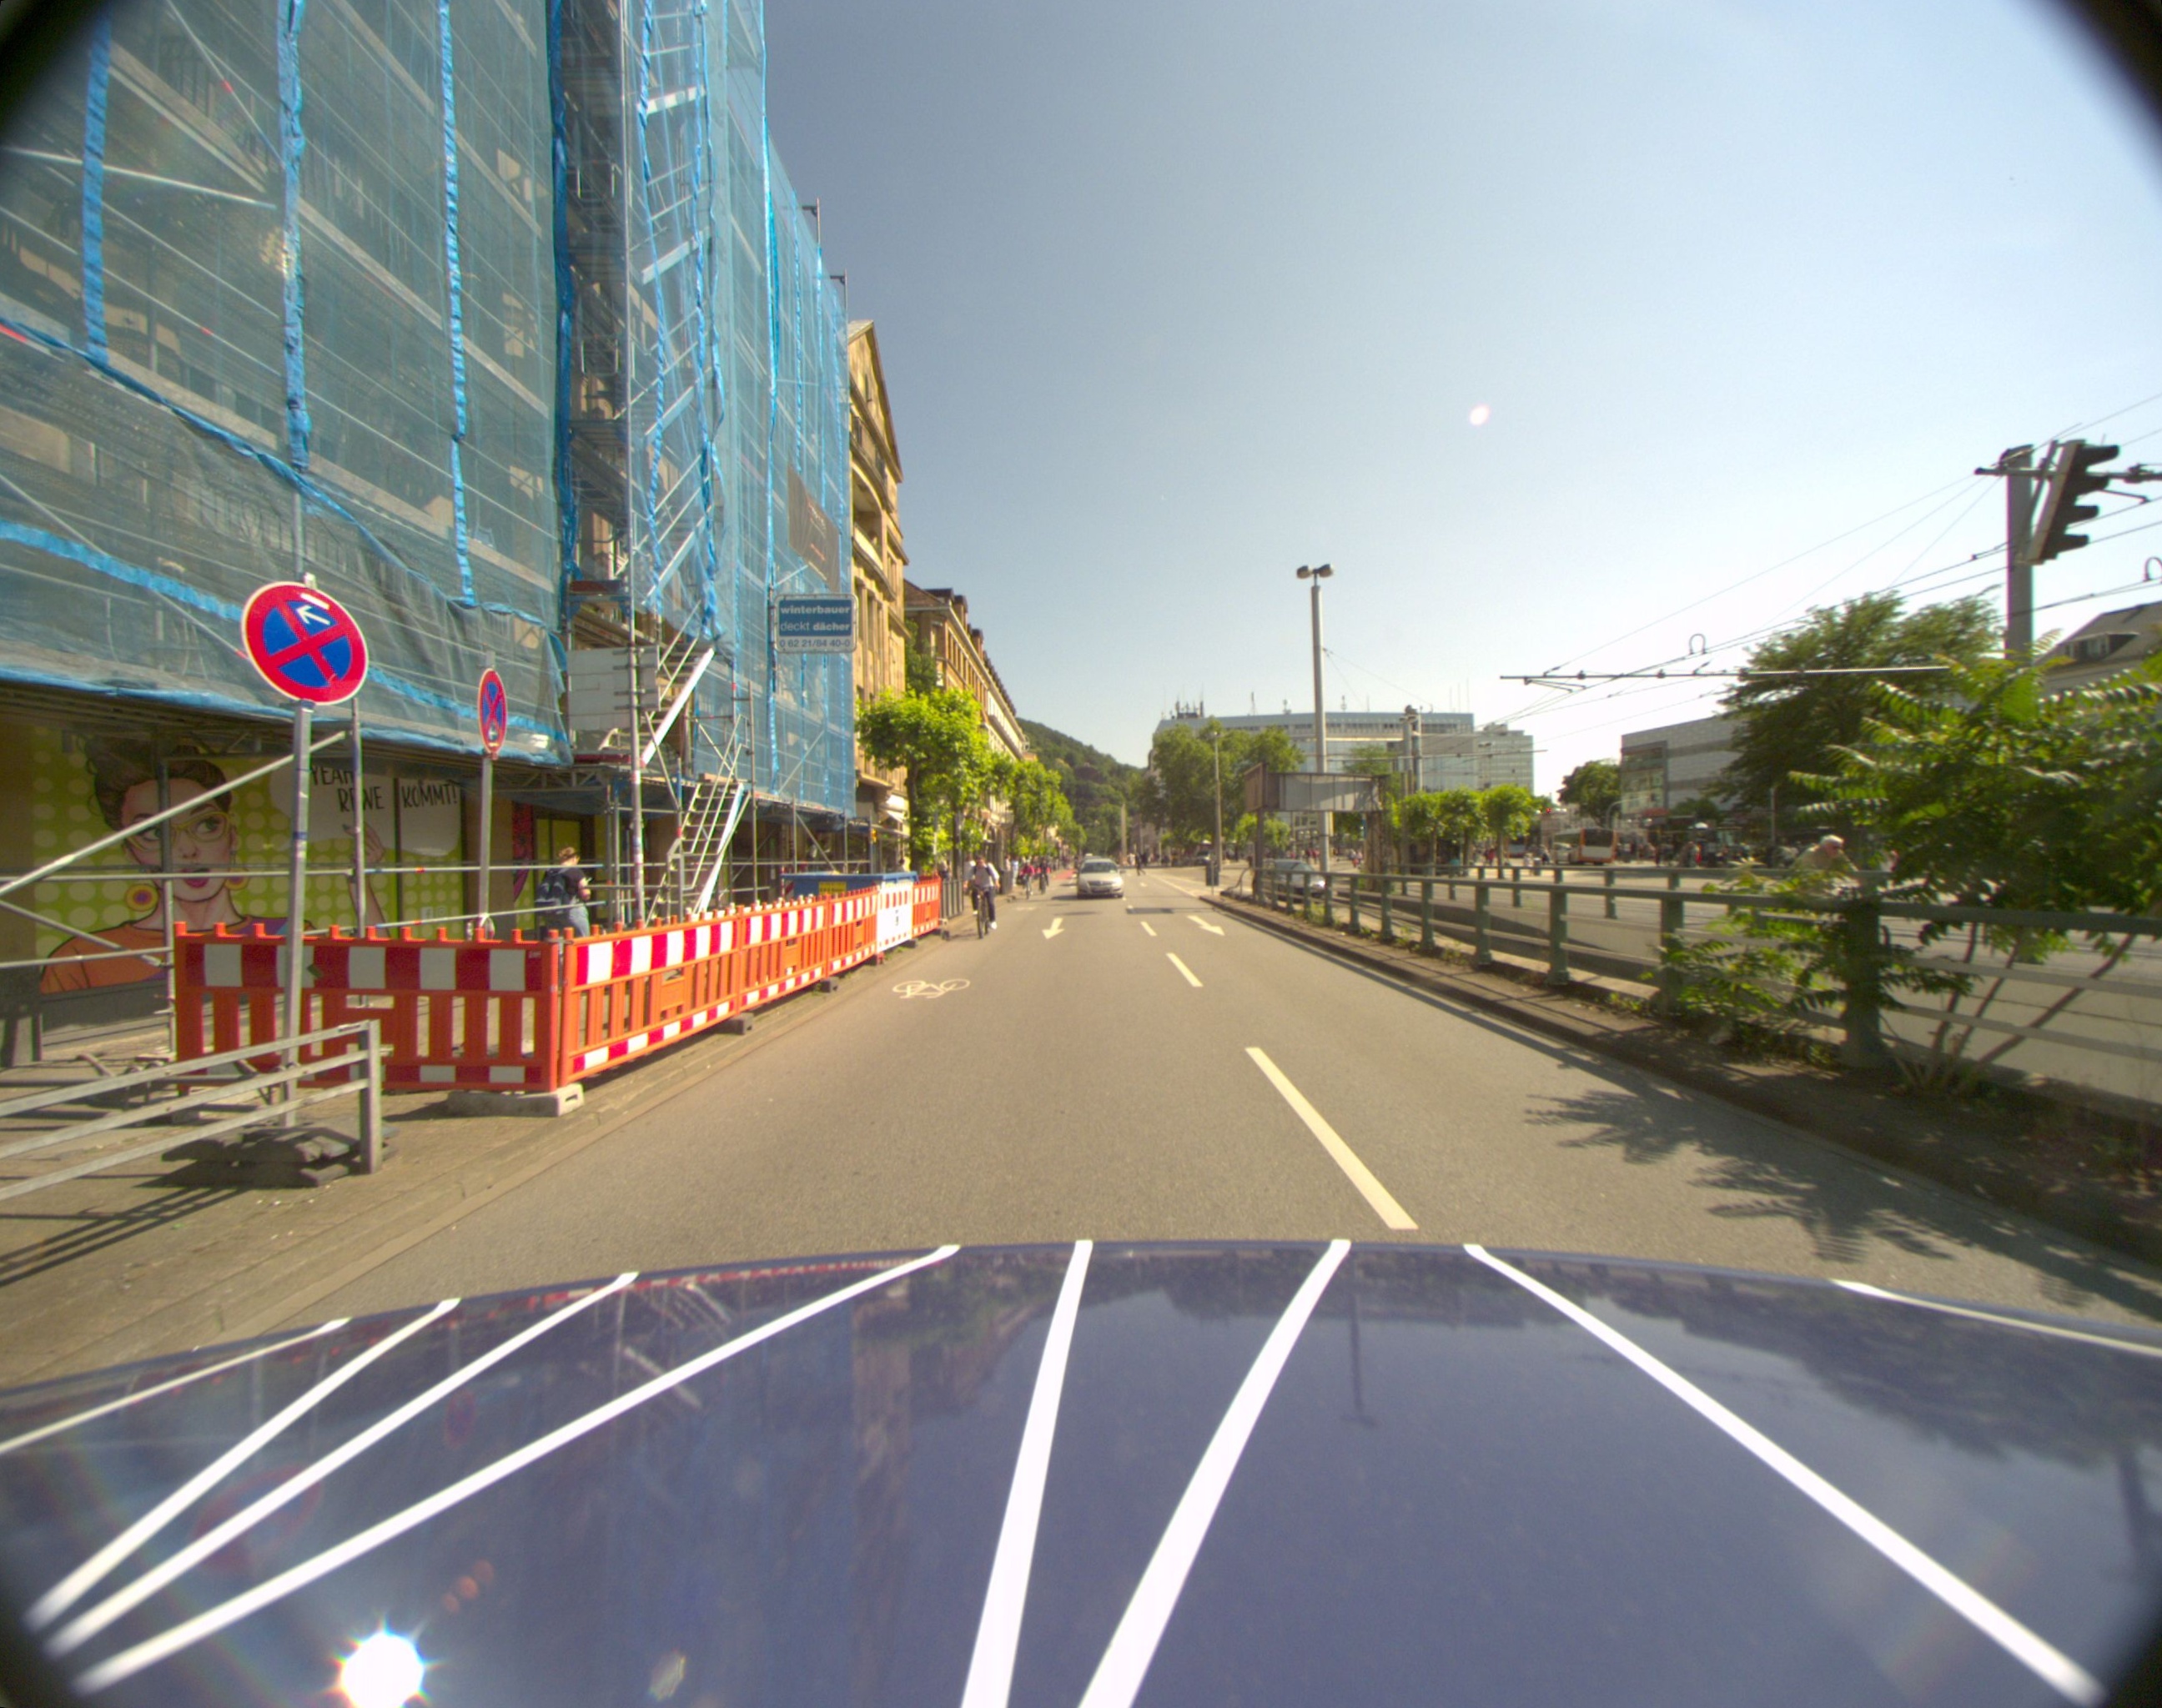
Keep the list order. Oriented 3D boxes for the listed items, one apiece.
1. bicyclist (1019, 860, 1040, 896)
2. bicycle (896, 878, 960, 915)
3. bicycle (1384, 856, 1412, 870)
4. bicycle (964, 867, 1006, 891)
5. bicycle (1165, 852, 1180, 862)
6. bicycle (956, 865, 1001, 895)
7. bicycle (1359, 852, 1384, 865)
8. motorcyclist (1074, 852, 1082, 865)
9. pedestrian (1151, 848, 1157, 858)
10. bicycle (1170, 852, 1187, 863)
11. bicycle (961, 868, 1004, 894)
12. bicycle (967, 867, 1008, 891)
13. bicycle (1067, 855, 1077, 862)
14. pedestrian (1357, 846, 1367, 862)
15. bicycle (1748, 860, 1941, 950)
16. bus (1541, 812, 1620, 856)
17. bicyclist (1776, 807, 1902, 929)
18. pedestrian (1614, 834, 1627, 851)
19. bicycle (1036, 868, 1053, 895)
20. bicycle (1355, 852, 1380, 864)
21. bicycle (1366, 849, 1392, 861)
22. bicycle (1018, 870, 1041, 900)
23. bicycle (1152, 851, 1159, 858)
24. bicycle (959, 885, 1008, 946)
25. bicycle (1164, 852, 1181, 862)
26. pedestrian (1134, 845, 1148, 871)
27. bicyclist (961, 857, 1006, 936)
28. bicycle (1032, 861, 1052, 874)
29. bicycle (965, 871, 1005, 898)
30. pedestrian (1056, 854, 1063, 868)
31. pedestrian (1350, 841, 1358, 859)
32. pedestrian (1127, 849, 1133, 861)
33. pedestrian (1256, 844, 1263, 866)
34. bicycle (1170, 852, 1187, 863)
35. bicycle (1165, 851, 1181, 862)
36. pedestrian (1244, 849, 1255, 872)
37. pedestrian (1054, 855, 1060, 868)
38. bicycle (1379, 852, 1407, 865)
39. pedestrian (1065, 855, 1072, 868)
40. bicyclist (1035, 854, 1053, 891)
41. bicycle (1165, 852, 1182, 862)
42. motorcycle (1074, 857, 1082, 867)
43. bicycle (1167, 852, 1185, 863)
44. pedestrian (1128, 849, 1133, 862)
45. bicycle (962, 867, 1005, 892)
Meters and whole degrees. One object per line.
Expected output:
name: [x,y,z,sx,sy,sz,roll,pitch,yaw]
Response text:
bicyclist: [-2.053,0.952,30.312,0.690,1.388,0.778,-4,1,-1]
bicycle: [-4.540,1.262,22.555,1.757,1.012,0.483,-2,1,-1]
bicycle: [23.449,0.663,56.265,1.871,0.864,0.581,-4,1,-12]
bicycle: [-4.247,1.114,33.726,1.757,1.012,0.483,-2,1,-1]
bicycle: [10.705,0.319,88.947,1.757,1.140,0.483,-2,1,-1]
bicycle: [-4.277,1.103,31.866,1.757,1.174,0.579,-2,1,-1]
bicycle: [23.435,0.361,61.287,1.871,0.867,0.583,-4,1,-12]
motorcyclist: [-0.360,0.557,89.815,0.736,1.446,0.707,-4,1,1]
pedestrian: [12.432,-0.095,129.512,0.732,1.660,0.640,-3,1,15]
bicycle: [10.834,0.343,84.384,1.757,1.140,0.483,-2,1,-1]
bicycle: [-4.198,1.156,32.444,1.757,1.012,0.557,-2,1,-1]
bicycle: [-4.227,1.136,34.343,1.757,1.012,0.483,-2,1,-1]
bicycle: [-1.518,0.836,130.943,1.757,1.140,0.592,-2,1,-1]
pedestrian: [26.281,0.021,71.040,0.626,1.457,0.552,1,0,-21]
bicycle: [10.582,0.657,10.655,0.819,1.114,1.874,1,1,1]
bus: [45.078,-1.821,69.064,3.060,3.400,12.475,-3,0,20]
bicyclist: [10.599,0.191,10.667,0.819,1.612,0.902,2,0,1]
pedestrian: [46.659,-0.986,65.703,0.624,1.457,0.681,1,0,4]
bicycle: [-1.606,1.196,33.791,0.667,1.086,1.897,-4,1,-1]
bicycle: [23.384,0.306,61.947,1.871,0.851,0.546,-4,1,-12]
bicycle: [23.543,0.071,59.962,1.871,0.851,0.546,-4,1,-12]
bicycle: [-2.050,1.225,30.226,0.736,1.086,1.819,-3,0,0]
bicycle: [12.724,0.138,129.389,0.729,1.137,1.914,-3,1,15]
bicycle: [-2.020,1.252,15.991,0.736,1.086,1.897,-4,1,-1]
bicycle: [10.554,0.336,87.646,1.757,1.140,0.483,-2,1,-1]
pedestrian: [4.717,0.335,59.755,0.897,1.996,0.678,-2,1,-43]
bicyclist: [-2.040,0.872,16.014,0.750,1.567,0.778,-4,1,0]
bicycle: [-3.498,1.193,68.486,1.757,1.140,0.483,-2,1,-1]
bicycle: [-3.860,1.205,30.351,0.659,1.012,1.753,-3,1,-42]
pedestrian: [-2.653,0.905,94.110,0.579,1.675,0.620,-4,1,-38]
pedestrian: [25.779,-0.346,71.667,0.473,1.656,0.521,1,0,-21]
pedestrian: [7.099,0.185,109.557,0.639,1.737,0.733,-4,1,0]
pedestrian: [13.612,0.081,57.932,0.525,1.600,0.627,1,0,10]
bicycle: [10.723,0.362,83.880,1.757,1.140,0.483,-2,1,-1]
bicycle: [10.651,0.285,88.255,1.757,1.140,0.483,-2,1,-1]
pedestrian: [12.875,0.487,57.937,0.527,1.723,0.586,1,0,-29]
pedestrian: [-2.977,0.943,95.044,0.578,1.675,0.775,-4,1,-2]
bicycle: [23.335,0.357,56.837,1.871,0.864,0.581,-4,1,-12]
pedestrian: [-1.695,1.020,102.057,0.579,1.675,0.726,-4,1,-22]
bicyclist: [-1.636,0.816,33.821,0.690,1.567,0.778,-4,1,-2]
bicycle: [10.498,0.344,86.215,1.757,1.140,0.483,-2,1,-1]
motorcycle: [-0.348,0.949,89.679,0.736,1.086,1.898,-4,1,1]
bicycle: [10.648,0.347,85.182,1.865,1.140,0.483,-2,1,-1]
pedestrian: [6.974,0.184,106.408,0.575,1.704,0.652,-4,1,0]
bicycle: [-4.231,1.117,33.112,1.757,1.012,0.587,-1,1,-1]
